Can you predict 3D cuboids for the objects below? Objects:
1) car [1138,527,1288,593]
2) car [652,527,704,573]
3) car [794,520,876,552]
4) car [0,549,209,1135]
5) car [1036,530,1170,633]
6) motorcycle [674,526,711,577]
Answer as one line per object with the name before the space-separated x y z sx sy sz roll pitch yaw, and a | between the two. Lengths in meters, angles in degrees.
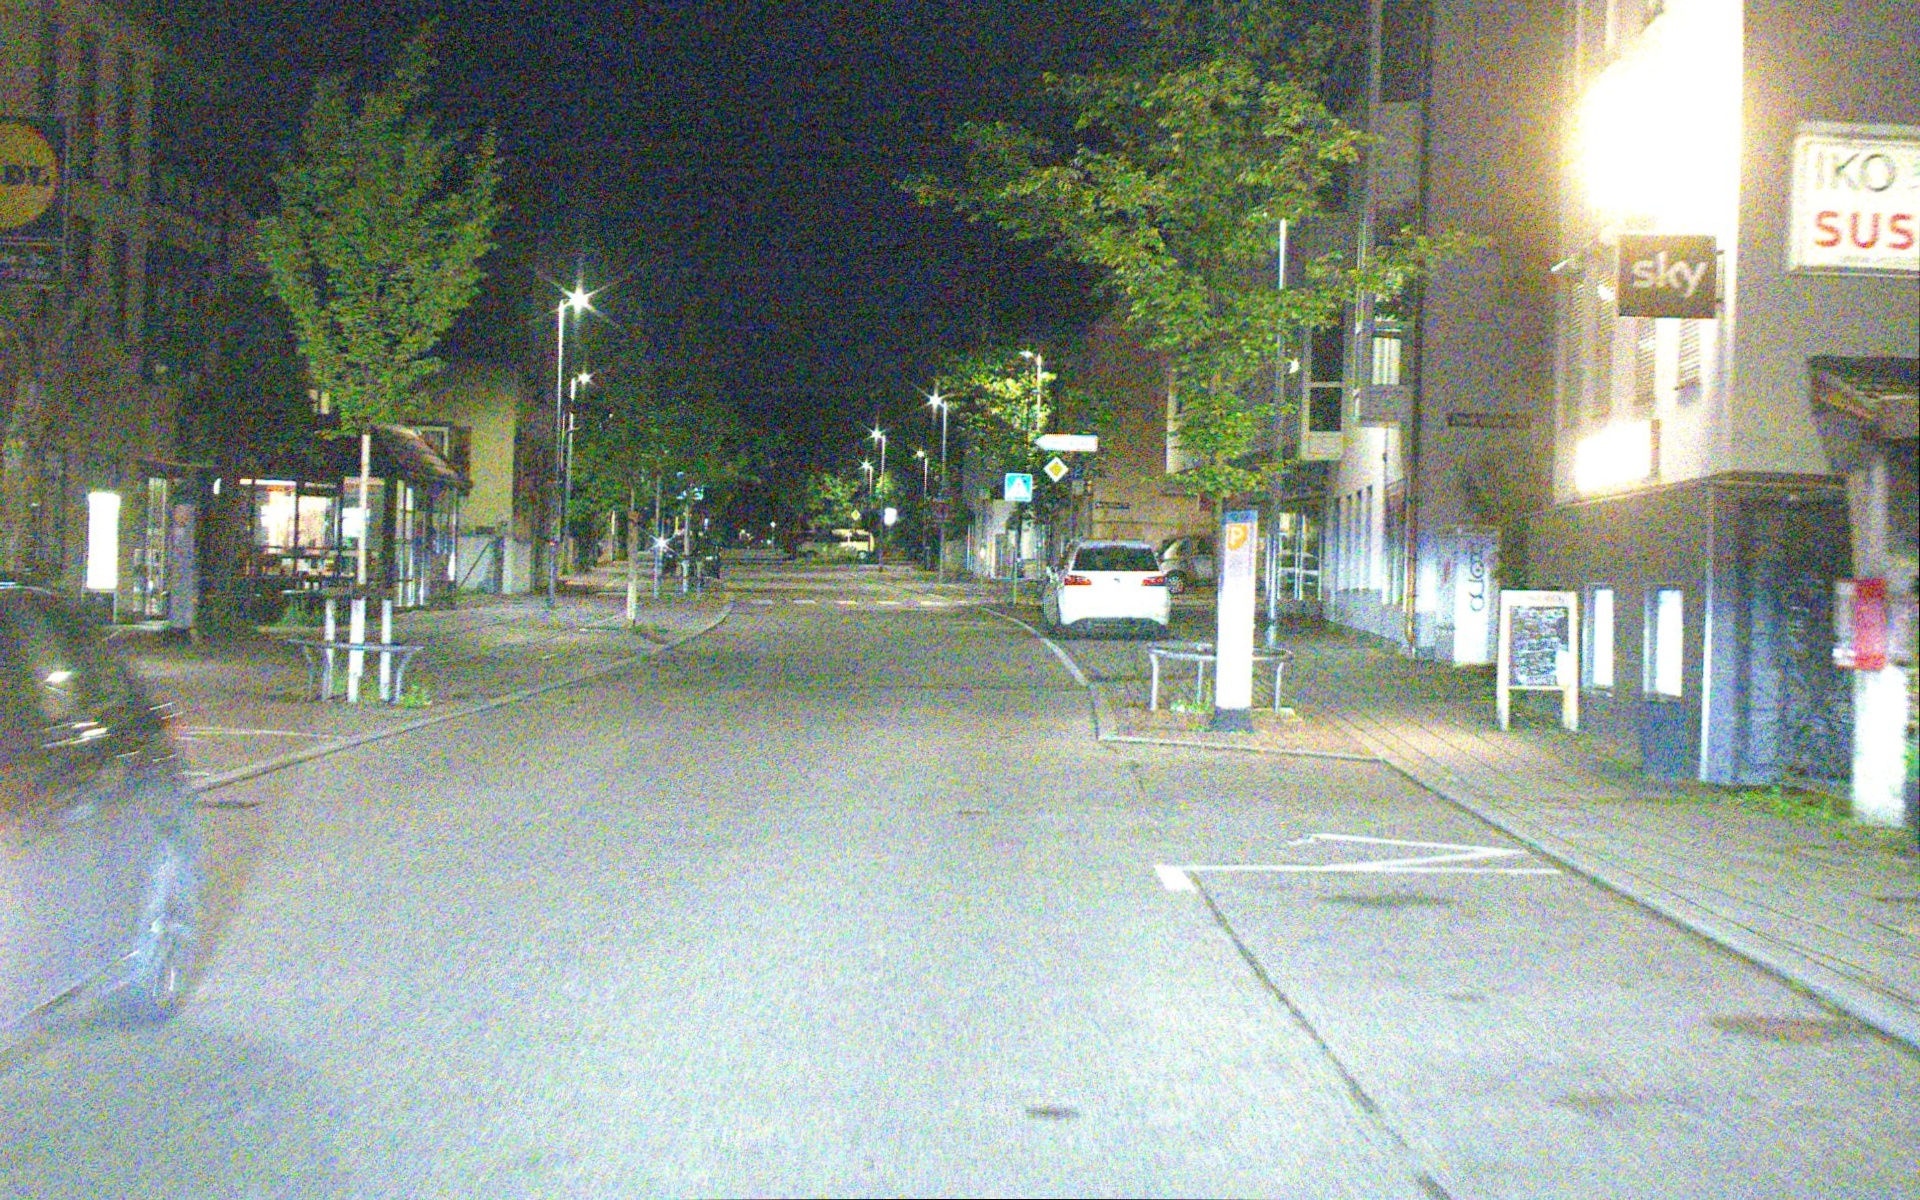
car | 6.455 -1.026 87.941 3.505 1.519 1.821 -2 1 -5
car | -9.657 -1.730 117.832 1.688 1.505 4.279 1 1 -4
car | -8.150 -4.151 223.590 5.181 2.007 2.102 0 1 -5
car | -3.227 0.586 9.061 1.716 1.423 3.816 1 1 -1
car | 2.220 -0.324 54.464 1.742 1.563 4.209 0 1 -3
motorcycle | -7.706 -1.395 99.076 0.746 1.447 2.195 1 1 4
